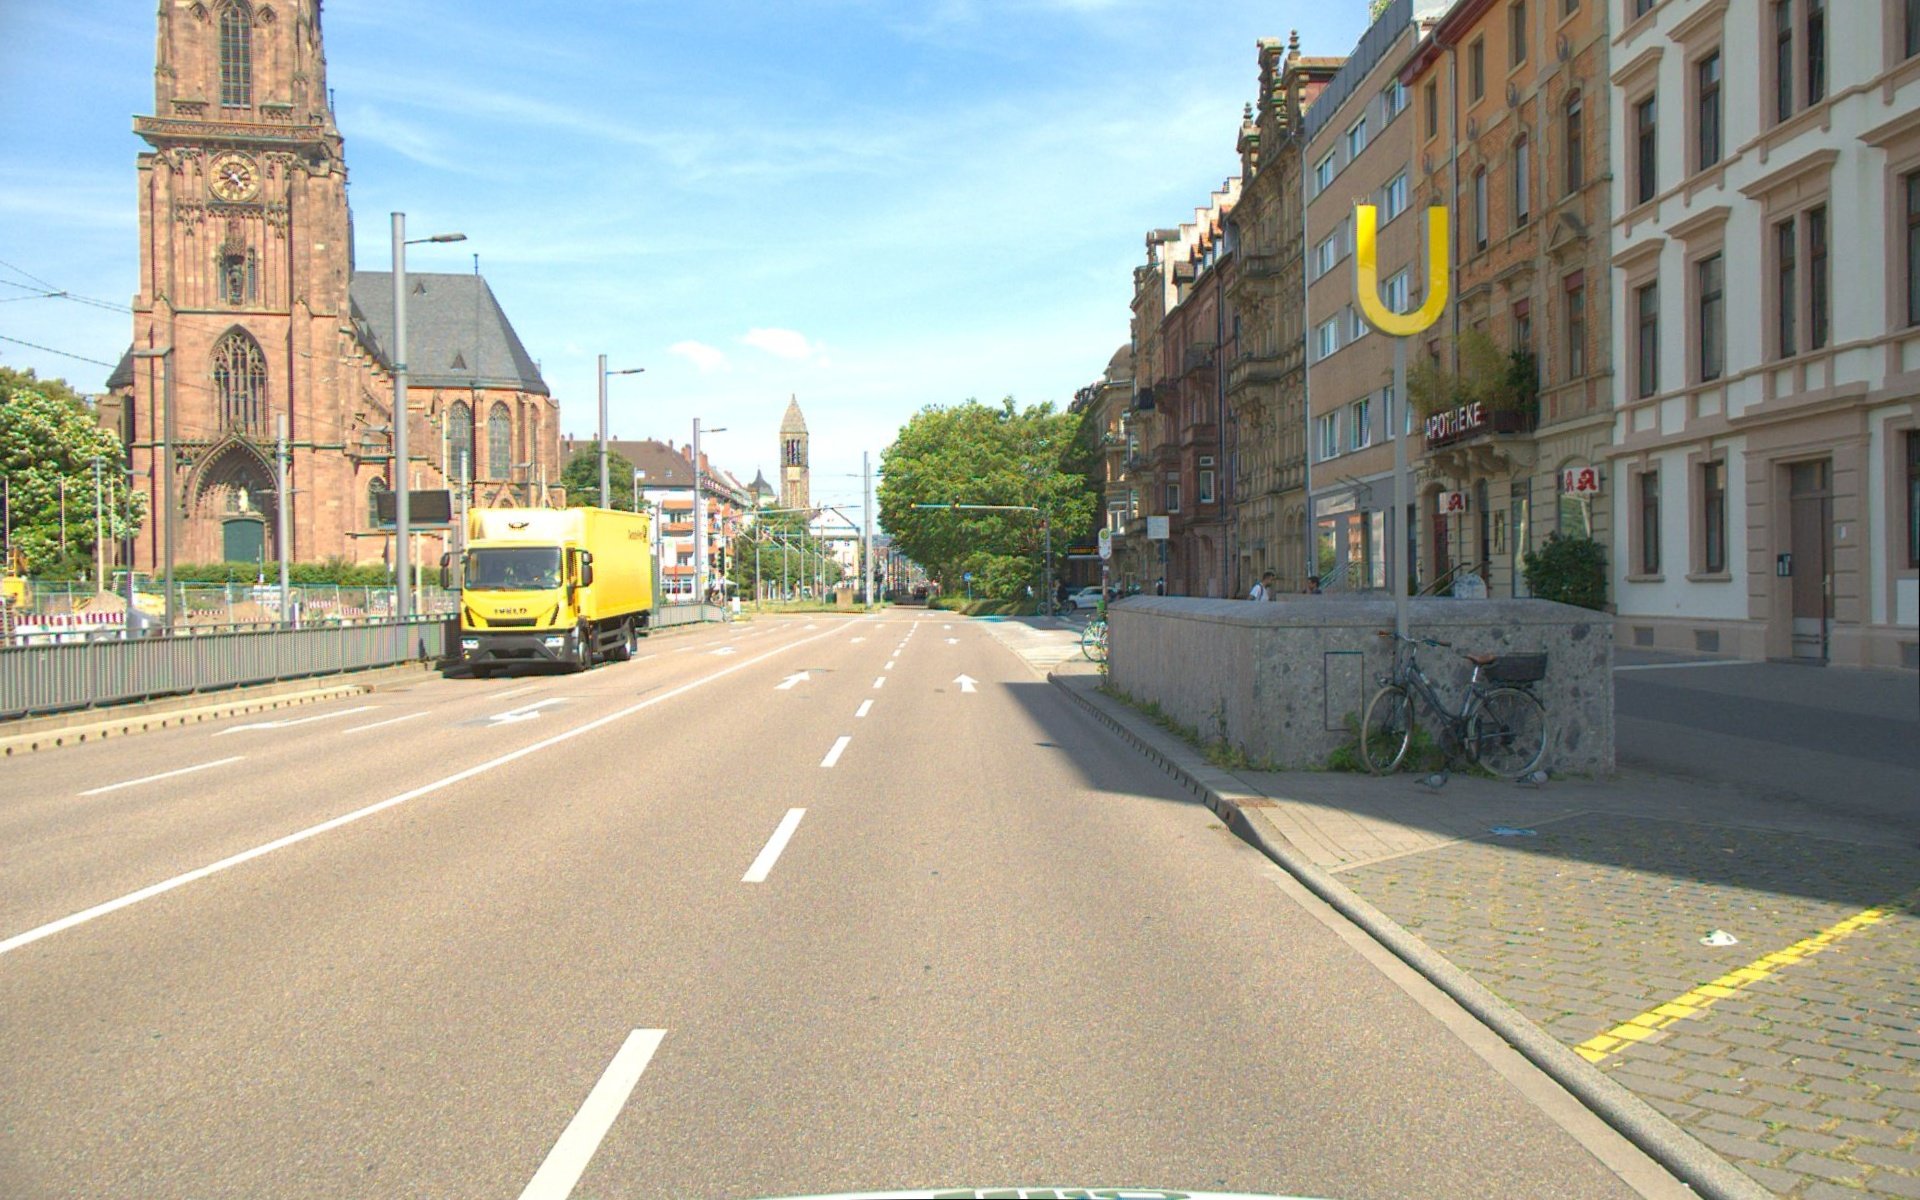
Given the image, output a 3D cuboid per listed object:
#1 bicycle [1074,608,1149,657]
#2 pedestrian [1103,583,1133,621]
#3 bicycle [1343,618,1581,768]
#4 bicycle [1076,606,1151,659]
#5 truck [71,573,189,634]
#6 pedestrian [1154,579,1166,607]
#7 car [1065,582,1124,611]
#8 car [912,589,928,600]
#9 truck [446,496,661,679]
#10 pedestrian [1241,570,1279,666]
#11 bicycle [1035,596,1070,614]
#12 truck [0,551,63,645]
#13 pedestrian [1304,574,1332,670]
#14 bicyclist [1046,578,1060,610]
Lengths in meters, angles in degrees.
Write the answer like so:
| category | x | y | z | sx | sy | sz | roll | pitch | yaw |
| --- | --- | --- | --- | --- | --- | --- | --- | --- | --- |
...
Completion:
| category | x | y | z | sx | sy | sz | roll | pitch | yaw |
| --- | --- | --- | --- | --- | --- | --- | --- | --- | --- |
| bicycle | 3.035 | 0.652 | 33.194 | 1.431 | 0.963 | 0.415 | -1 | -1 | -1 |
| pedestrian | 5.773 | 0.063 | 60.476 | 0.928 | 1.348 | 0.822 | -1 | 0 | -3 |
| bicycle | 3.963 | 0.726 | 13.124 | 1.707 | 1.113 | 0.597 | -1 | 1 | -1 |
| bicycle | 3.036 | 0.644 | 32.747 | 1.431 | 0.993 | 0.415 | -1 | 3 | -1 |
| truck | -39.098 | 0.150 | 77.988 | 4.307 | 2.725 | 2.387 | -1 | 0 | 3 |
| pedestrian | 10.488 | -0.392 | 86.907 | 0.522 | 1.431 | 0.490 | -1 | 3 | -7 |
| car | 9.153 | -0.252 | 112.699 | 3.905 | 1.780 | 2.001 | -1 | 3 | 1 |
| car | -5.103 | -0.692 | 211.030 | 1.861 | 1.400 | 3.813 | -1 | 1 | -3 |
| truck | -8.570 | -0.266 | 36.096 | 2.492 | 3.355 | 9.026 | -3 | 0 | -1 |
| pedestrian | 5.375 | 0.323 | 29.661 | 0.541 | 1.694 | 0.525 | -1 | 0 | -1 |
| bicycle | 4.796 | 0.265 | 85.688 | 1.789 | 0.878 | 0.481 | -1 | 3 | -16 |
| truck | -38.455 | -0.067 | 67.078 | 2.979 | 3.631 | 5.999 | -1 | 0 | -23 |
| pedestrian | 6.384 | 0.383 | 29.518 | 0.363 | 1.694 | 0.525 | -1 | 0 | -1 |
| bicyclist | 4.829 | -0.326 | 85.681 | 0.628 | 1.619 | 0.481 | -1 | 2 | -16 |
